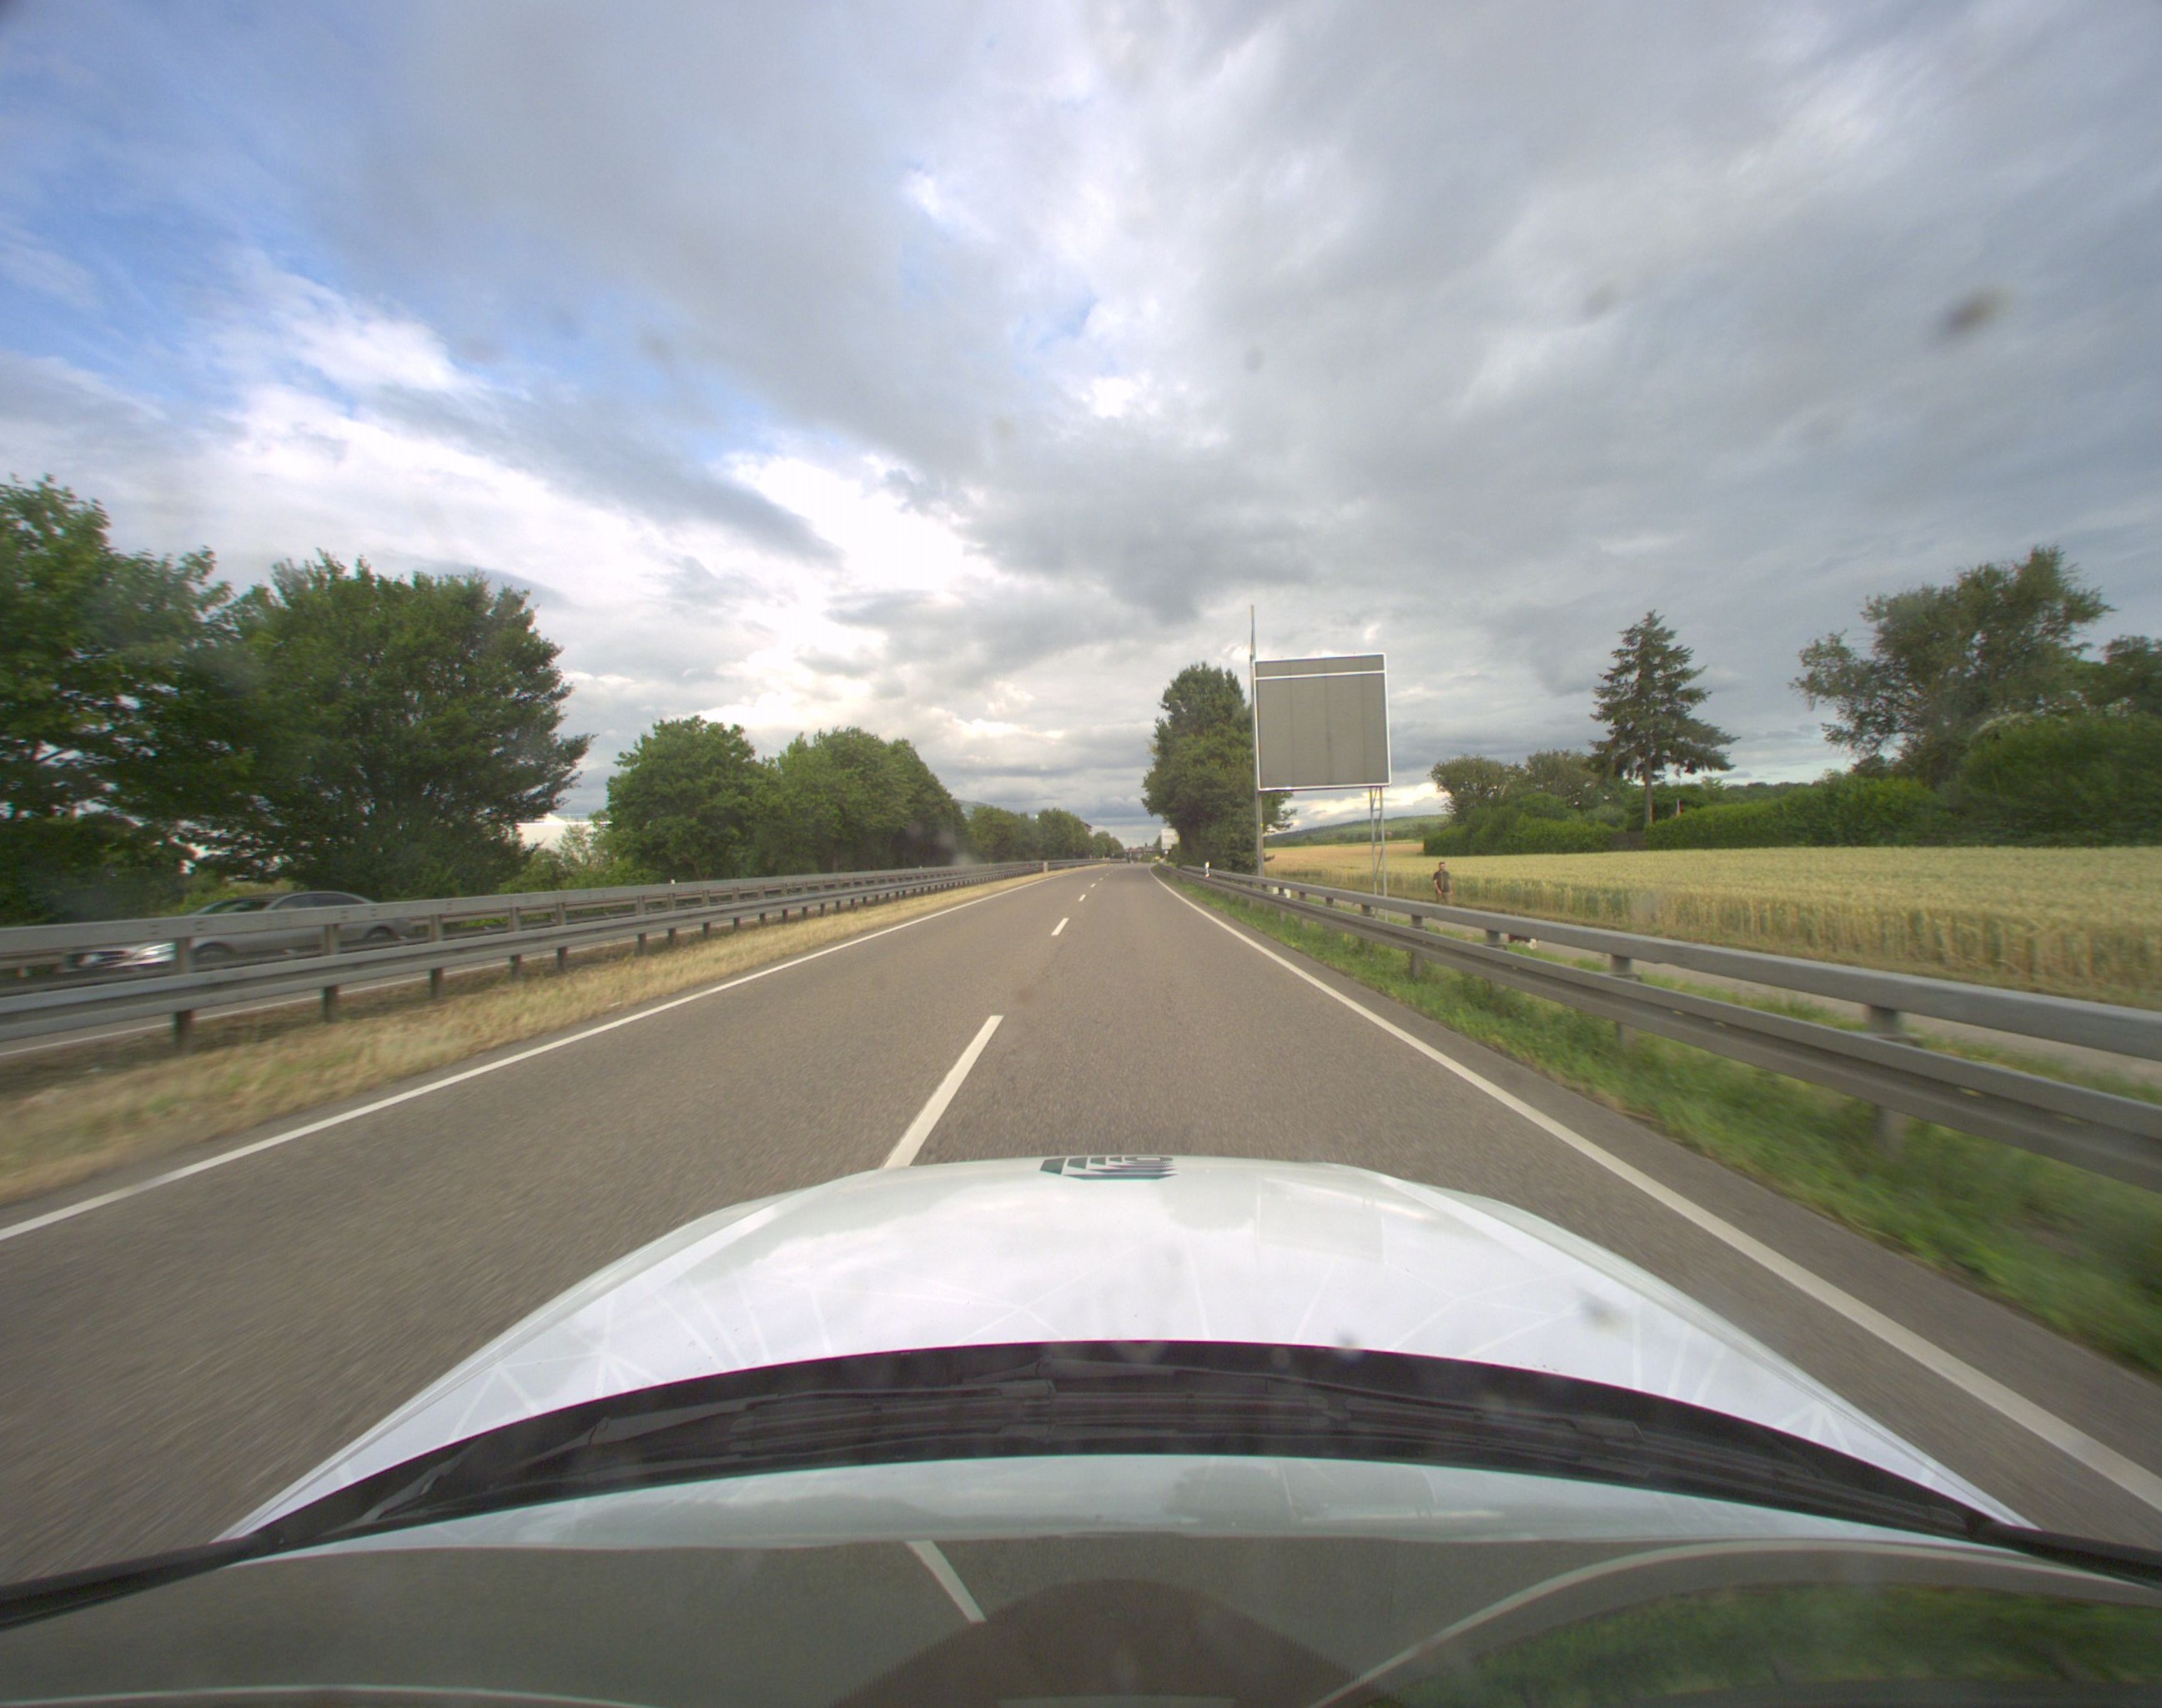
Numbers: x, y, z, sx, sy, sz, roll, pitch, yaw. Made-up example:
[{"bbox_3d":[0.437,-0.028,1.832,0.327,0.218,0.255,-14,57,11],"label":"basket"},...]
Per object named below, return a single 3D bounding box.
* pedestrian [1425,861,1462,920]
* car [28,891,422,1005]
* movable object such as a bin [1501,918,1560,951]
[{"bbox_3d":[11.716,1.173,26.346,0.768,1.868,0.940,0,-1,1],"label":"pedestrian"},{"bbox_3d":[-14.088,1.451,13.930,1.774,1.352,4.578,-2,0,2],"label":"car"},{"bbox_3d":[10.372,1.841,18.834,0.729,0.645,1.236,0,-1,2],"label":"movable object such as a bin"}]
